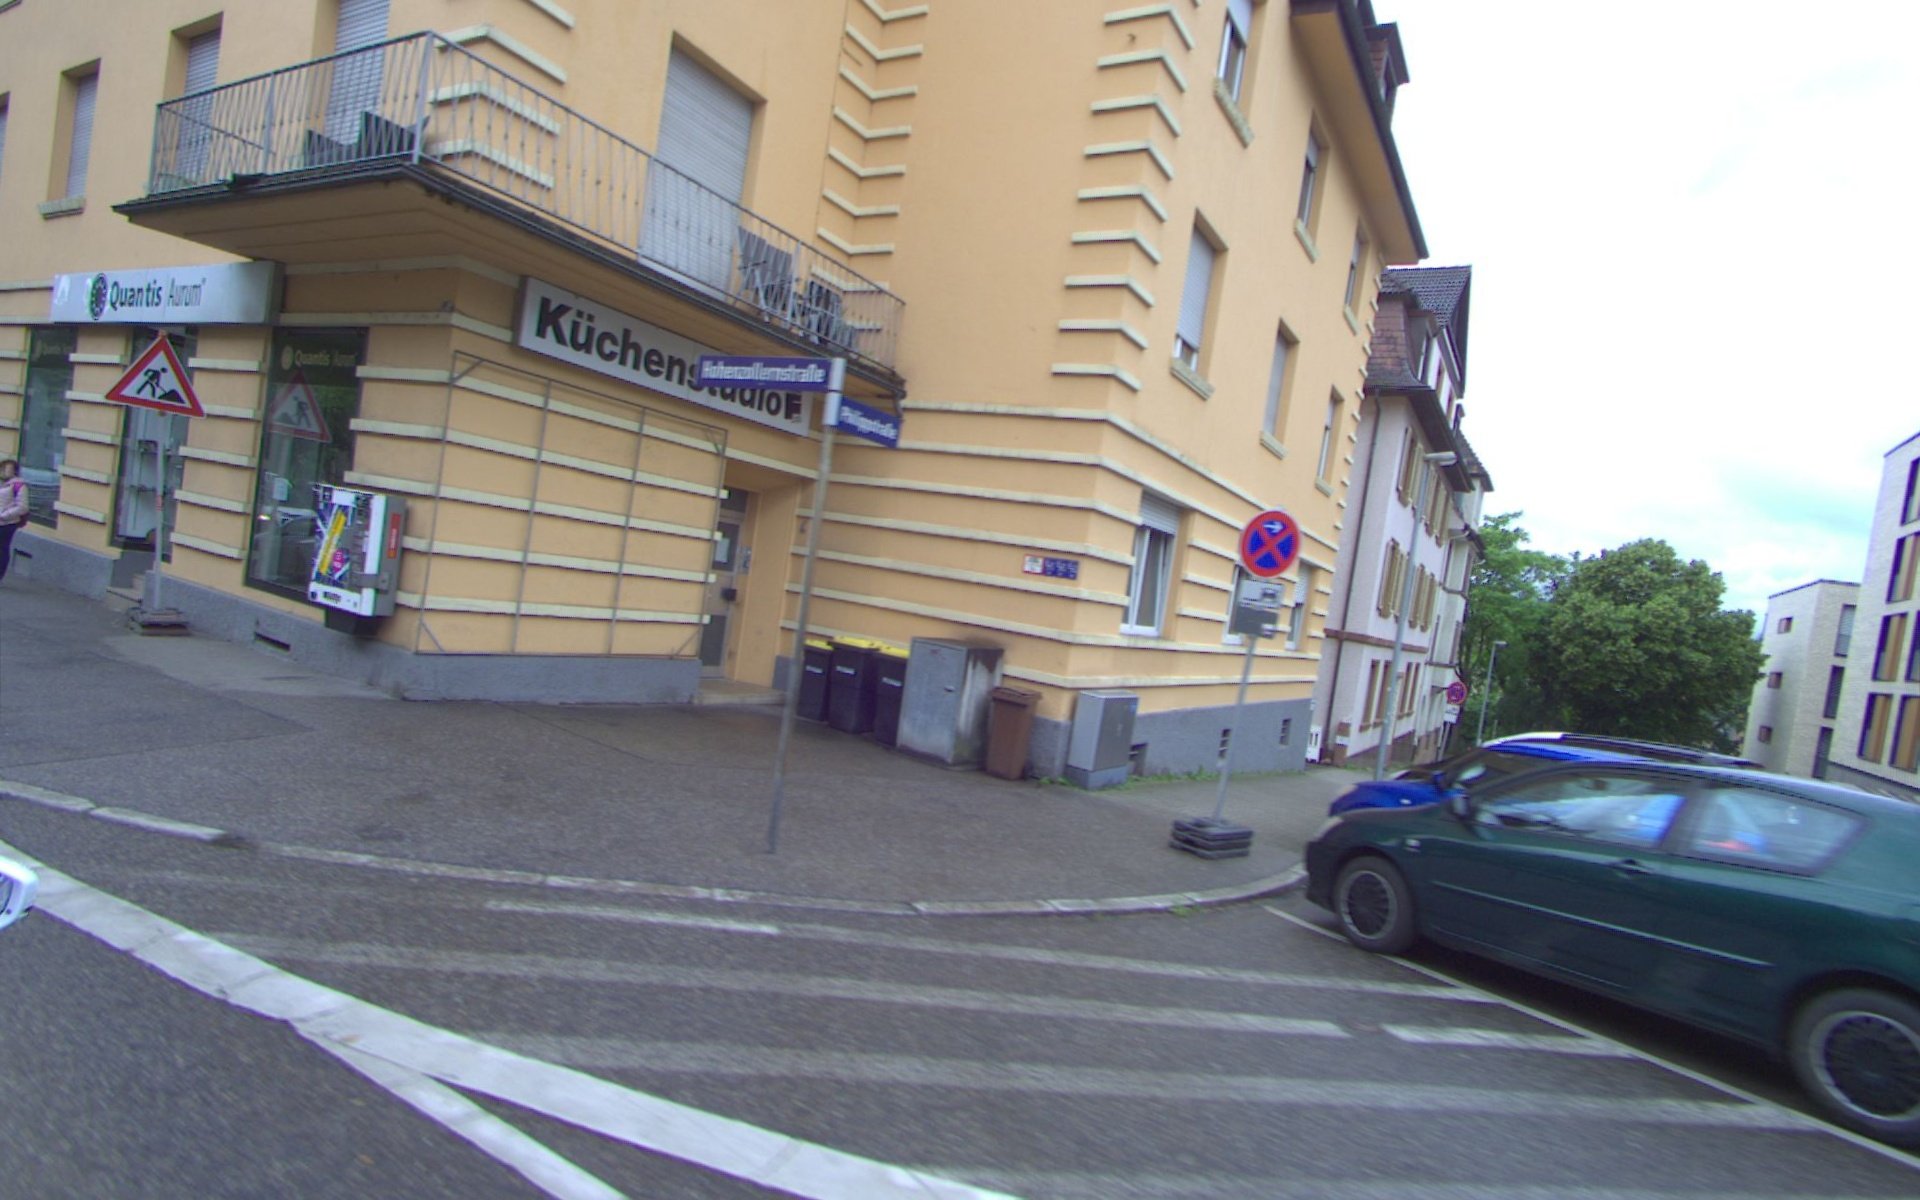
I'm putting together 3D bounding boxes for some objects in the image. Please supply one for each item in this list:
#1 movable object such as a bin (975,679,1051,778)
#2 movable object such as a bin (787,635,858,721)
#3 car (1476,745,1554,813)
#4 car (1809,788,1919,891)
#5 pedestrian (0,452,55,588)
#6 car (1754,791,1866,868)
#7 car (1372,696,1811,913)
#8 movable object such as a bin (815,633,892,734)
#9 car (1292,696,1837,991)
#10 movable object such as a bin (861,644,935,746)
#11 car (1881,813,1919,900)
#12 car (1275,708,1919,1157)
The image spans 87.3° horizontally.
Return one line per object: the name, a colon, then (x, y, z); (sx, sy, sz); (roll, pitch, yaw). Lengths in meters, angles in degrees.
movable object such as a bin: (0.571, 1.358, 10.779); (0.504, 0.943, 0.505); (10, 4, 32)
movable object such as a bin: (-1.663, 0.949, 12.170); (0.504, 0.929, 0.506); (10, 0, 32)
car: (15.261, 4.866, 27.609); (1.585, 1.403, 3.528); (10, -2, 31)
car: (20.561, 5.285, 22.132); (1.935, 1.726, 4.335); (10, -2, 31)
pedestrian: (-11.812, -0.995, 12.285); (0.698, 1.610, 0.769); (7, 1, 13)
car: (24.643, 6.599, 29.310); (1.710, 1.554, 4.076); (10, -2, 32)
car: (8.101, 2.545, 13.383); (1.694, 1.744, 4.497); (9, -1, -34)
movable object such as a bin: (-1.243, 0.978, 11.774); (0.504, 1.069, 0.506); (13, 2, 32)
car: (5.020, 1.932, 8.844); (1.692, 1.509, 3.606); (9, -1, -31)
movable object such as a bin: (-0.705, 1.064, 11.406); (0.504, 1.055, 0.505); (10, 4, 32)
car: (18.079, 4.795, 17.706); (1.747, 1.441, 3.529); (10, -2, 29)
car: (4.066, 1.645, 5.802); (1.835, 1.484, 4.086); (10, -4, -27)
